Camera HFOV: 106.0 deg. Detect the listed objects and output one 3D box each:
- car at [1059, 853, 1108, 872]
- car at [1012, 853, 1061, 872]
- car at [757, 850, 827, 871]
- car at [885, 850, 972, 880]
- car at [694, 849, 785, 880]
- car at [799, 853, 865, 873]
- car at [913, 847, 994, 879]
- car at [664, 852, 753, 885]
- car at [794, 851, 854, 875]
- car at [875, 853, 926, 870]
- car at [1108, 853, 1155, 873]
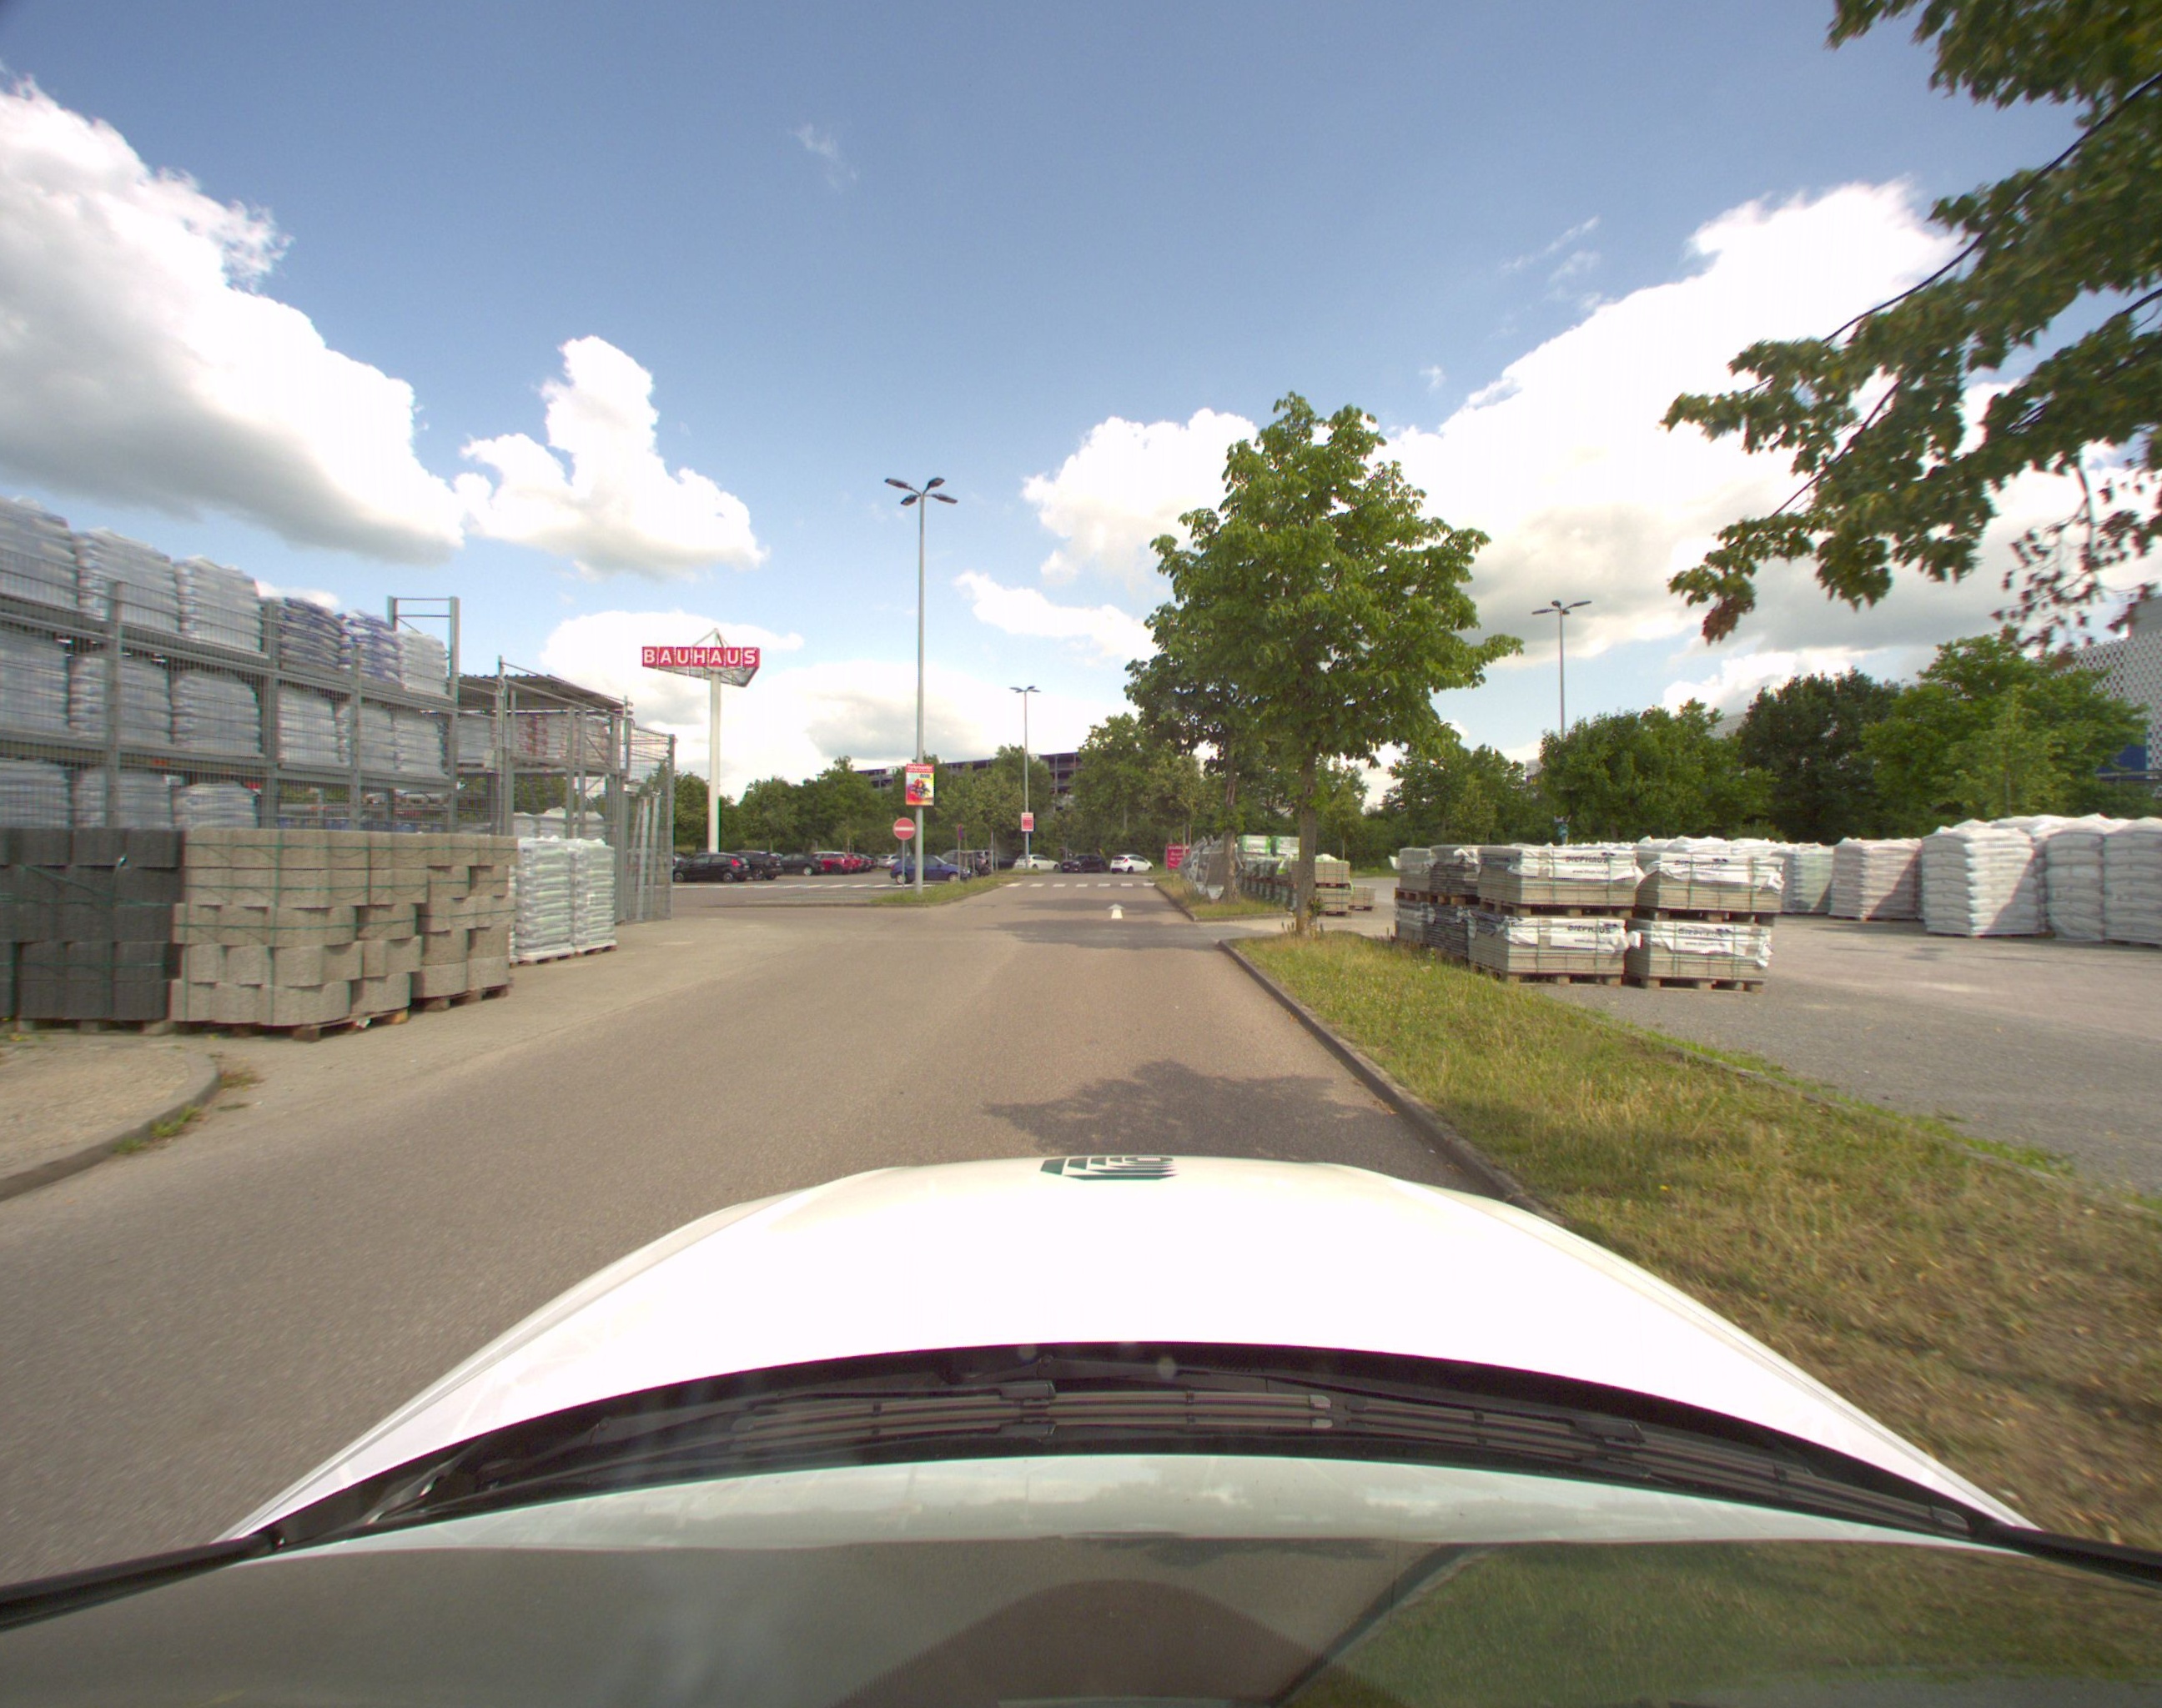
[{"bbox_3d":[0.235,0.657,64.316,1.711,1.410,4.270,0,0,37],"label":"car"},{"bbox_3d":[-3.663,0.647,66.928,1.668,1.509,4.107,-1,-1,40],"label":"car"},{"bbox_3d":[-18.309,0.404,51.695,3.860,1.369,1.728,0,0,-2],"label":"car"},{"bbox_3d":[-7.100,0.509,38.089,3.736,1.368,1.622,0,0,2],"label":"car"},{"bbox_3d":[-18.243,0.572,43.610,4.057,1.624,1.784,0,0,0],"label":"car"},{"bbox_3d":[-17.317,0.623,56.804,4.062,1.399,1.766,0,0,0],"label":"car"},{"bbox_3d":[-6.726,0.469,43.130,3.932,1.624,1.738,0,0,4],"label":"car"},{"bbox_3d":[-18.868,0.728,41.390,3.687,1.624,1.782,0,0,-4],"label":"car"},{"bbox_3d":[-17.053,0.596,54.207,3.425,1.581,1.710,0,0,0],"label":"car"},{"bbox_3d":[-16.814,0.676,76.225,1.761,1.504,4.684,0,0,36],"label":"car"},{"bbox_3d":[3.831,0.659,61.261,1.649,1.411,3.579,0,0,41],"label":"car"}]
